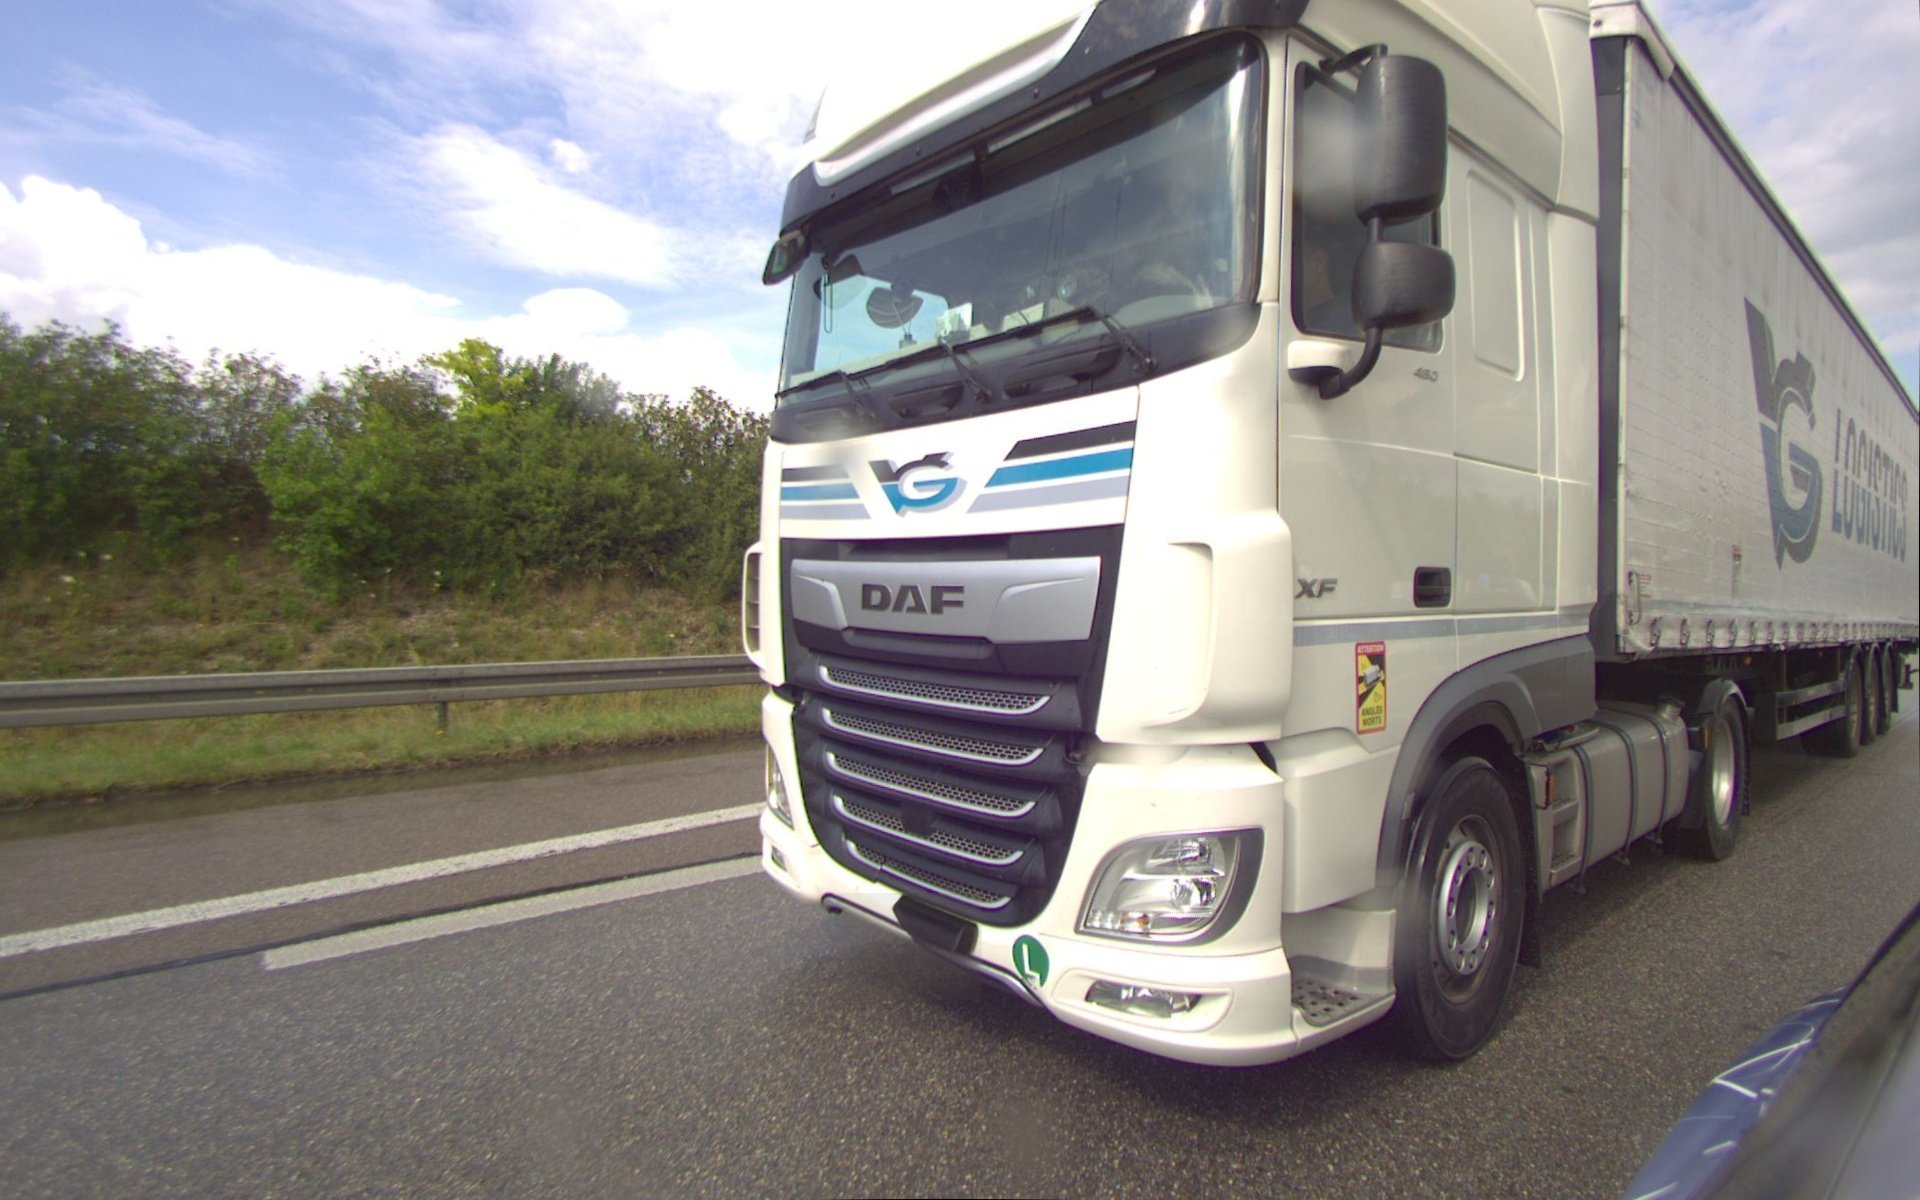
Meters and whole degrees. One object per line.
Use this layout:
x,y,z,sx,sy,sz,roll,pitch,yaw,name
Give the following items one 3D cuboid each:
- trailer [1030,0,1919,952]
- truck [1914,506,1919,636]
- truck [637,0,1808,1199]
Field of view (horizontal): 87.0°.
6.658,-0.638,9.821,13.886,3.948,3.288,0,0,-42,trailer
35.170,-0.983,35.223,6.773,4.328,2.644,-1,1,-45,truck
1.938,-0.591,5.512,6.286,3.940,3.288,0,0,-42,truck
